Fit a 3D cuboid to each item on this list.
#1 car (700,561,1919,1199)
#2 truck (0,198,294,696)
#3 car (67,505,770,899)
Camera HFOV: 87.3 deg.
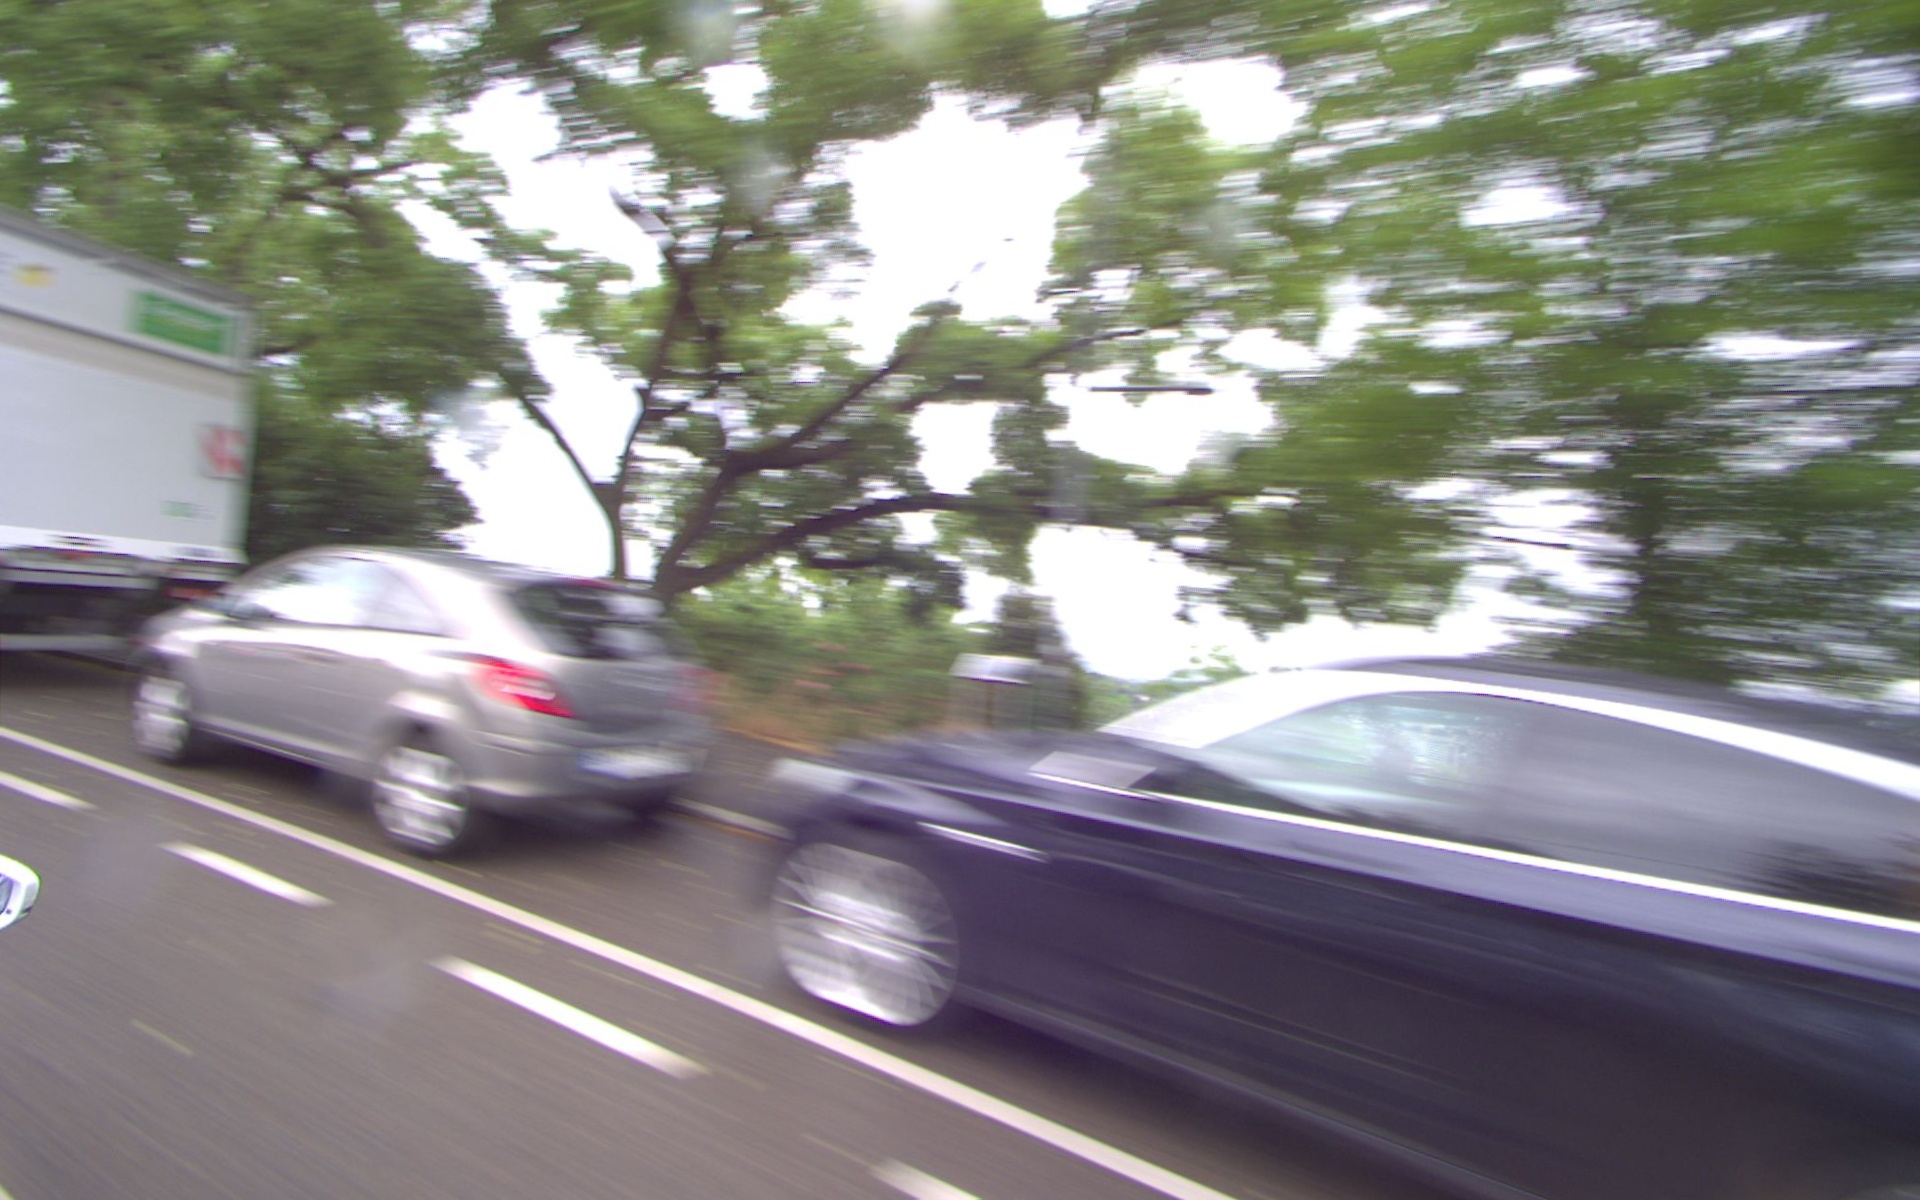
[{"bbox_3d":[1.532,0.935,3.366,4.818,1.561,1.861,7,-1,35],"label":"car"},{"bbox_3d":[-10.831,-1.545,9.096,8.764,3.514,2.783,7,1,16],"label":"truck"},{"bbox_3d":[-3.414,0.432,6.231,4.063,1.522,1.737,7,0,27],"label":"car"}]
